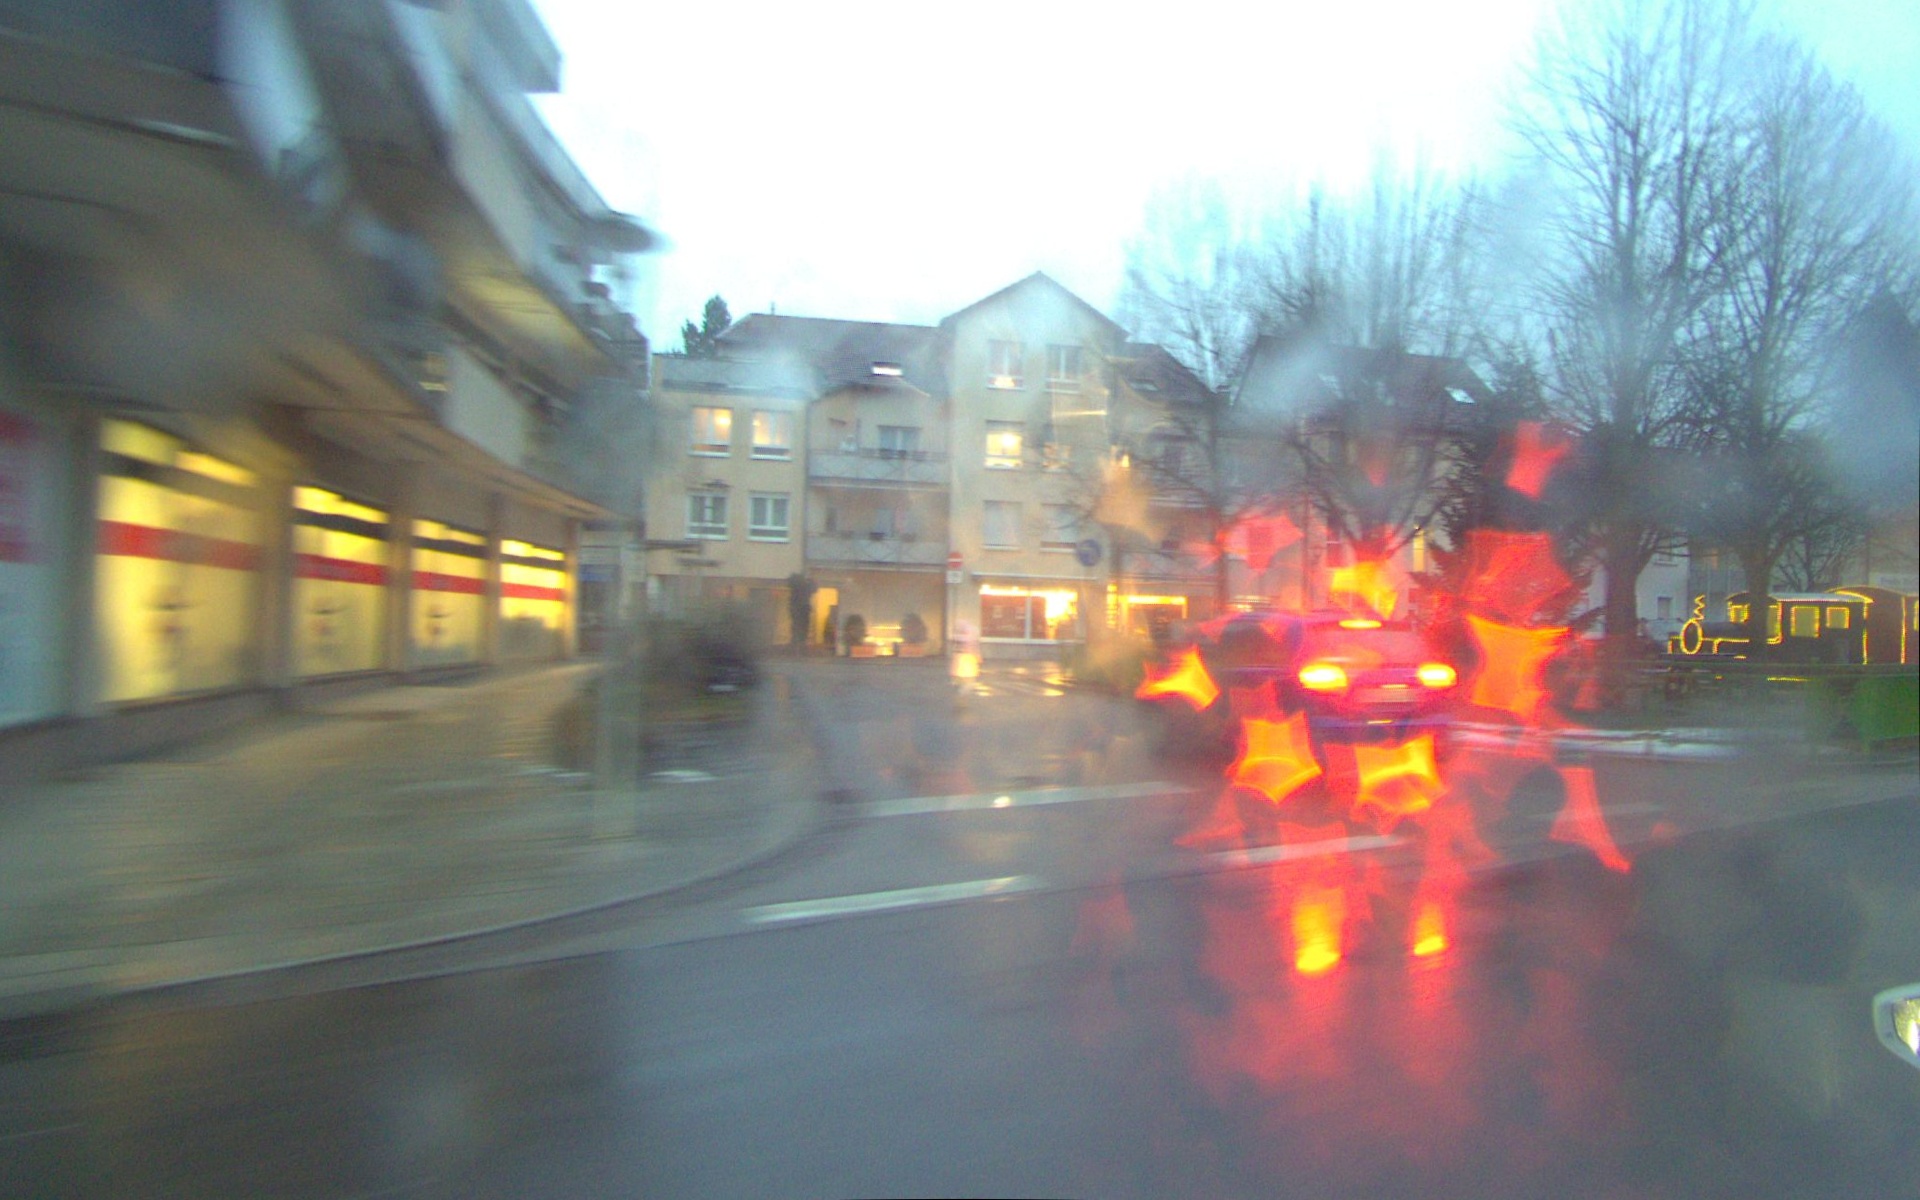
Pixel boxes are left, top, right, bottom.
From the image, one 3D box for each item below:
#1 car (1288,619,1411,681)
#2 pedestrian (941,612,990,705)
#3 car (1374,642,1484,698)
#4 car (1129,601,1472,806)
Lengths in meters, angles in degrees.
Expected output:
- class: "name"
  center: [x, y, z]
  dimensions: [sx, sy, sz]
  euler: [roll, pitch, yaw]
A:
- class: "car"
  center: [10.642, 1.322, 27.764]
  dimensions: [1.884, 1.528, 4.000]
  euler: [1, 0, 1]
- class: "pedestrian"
  center: [0.074, 0.858, 14.959]
  dimensions: [0.558, 1.357, 0.619]
  euler: [1, 0, -17]
- class: "car"
  center: [13.190, 1.944, 28.423]
  dimensions: [1.582, 1.346, 3.327]
  euler: [1, 0, 1]
- class: "car"
  center: [2.906, 0.795, 9.301]
  dimensions: [1.476, 1.527, 3.302]
  euler: [1, 0, -13]
